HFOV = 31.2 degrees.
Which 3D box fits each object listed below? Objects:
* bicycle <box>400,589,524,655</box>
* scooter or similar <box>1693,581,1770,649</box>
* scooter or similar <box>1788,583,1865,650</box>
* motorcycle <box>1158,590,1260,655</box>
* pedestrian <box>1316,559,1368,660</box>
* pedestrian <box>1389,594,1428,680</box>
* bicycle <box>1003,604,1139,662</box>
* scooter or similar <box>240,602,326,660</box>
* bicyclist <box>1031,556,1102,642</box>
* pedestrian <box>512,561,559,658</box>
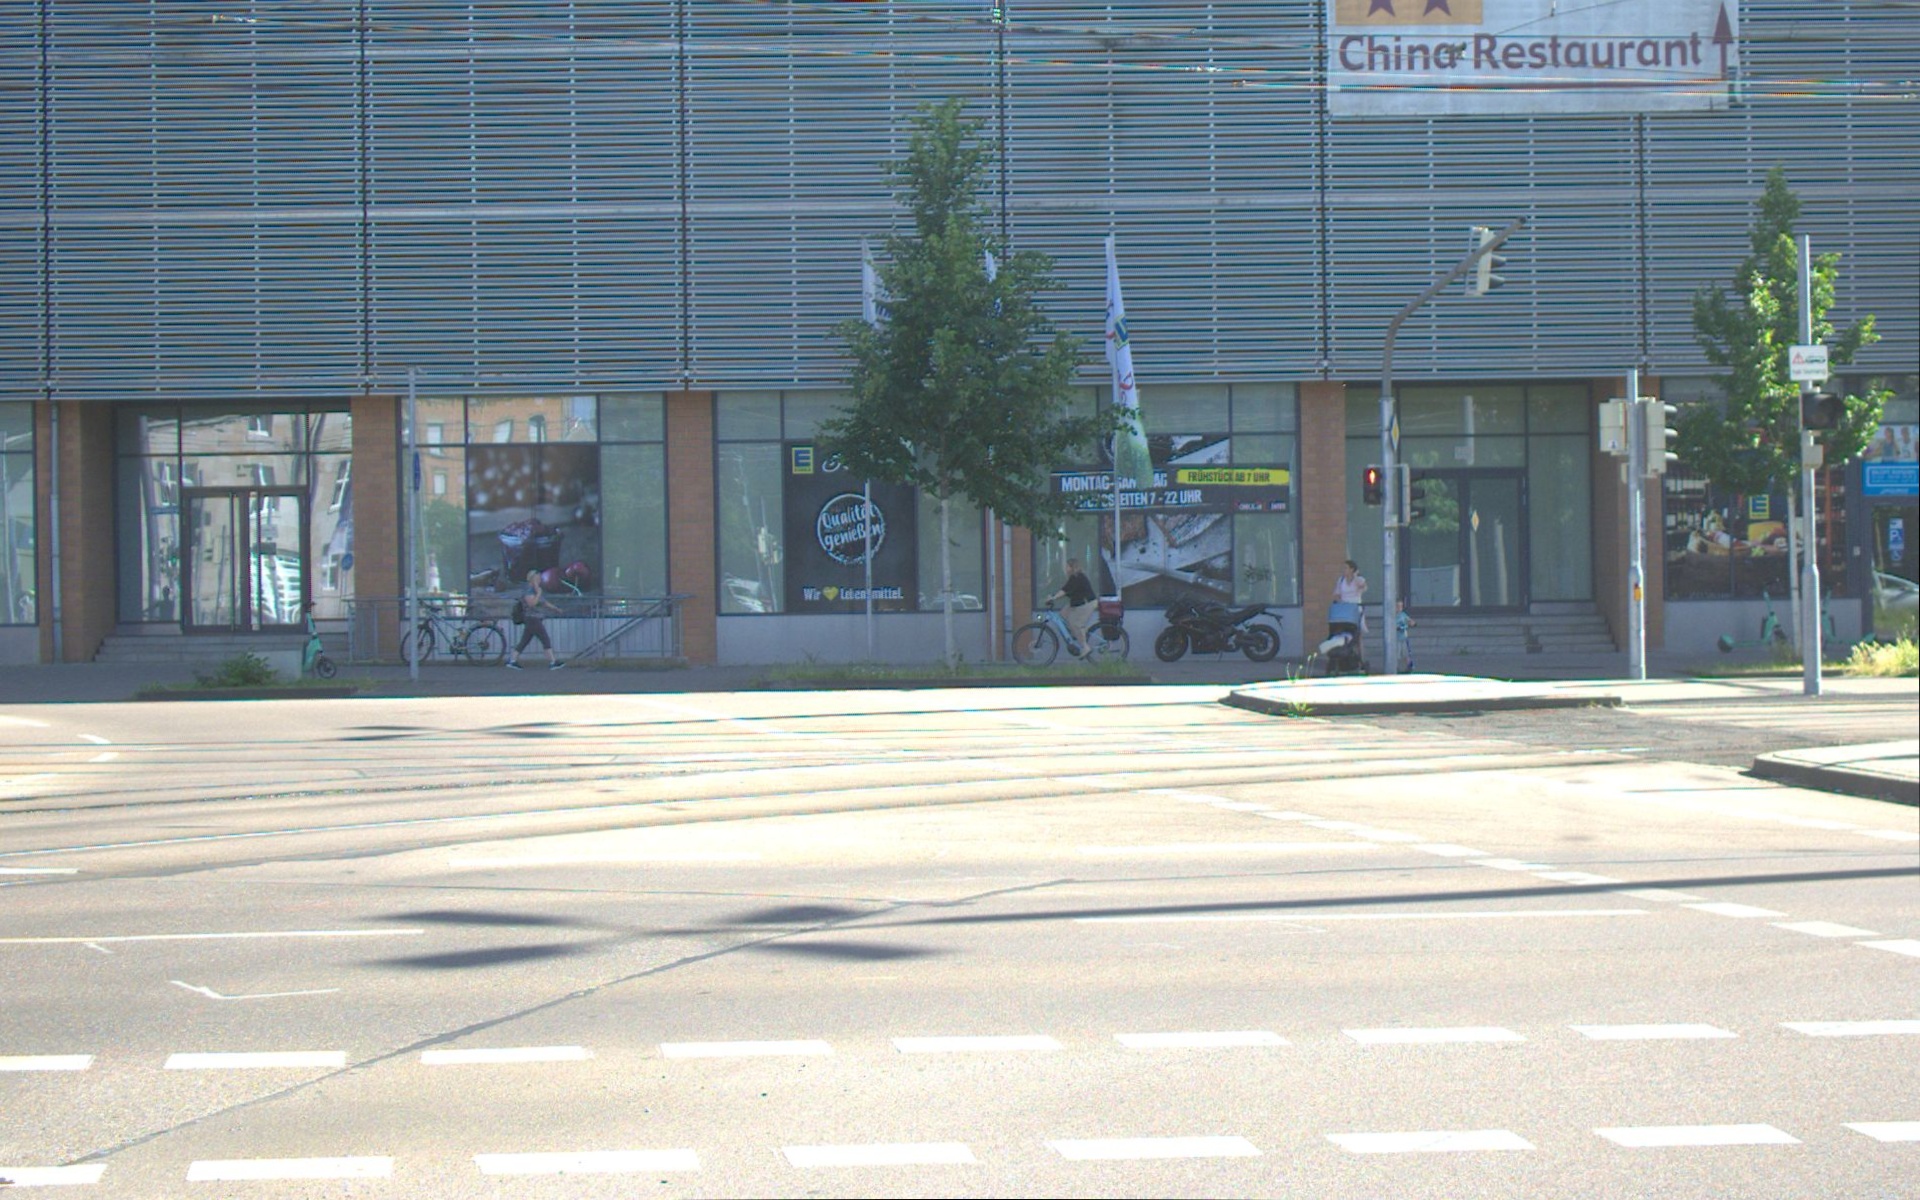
[{"bbox_3d":[-8.028,0.351,55.457,1.944,1.035,0.573,-1,0,-5],"label":"bicycle"},{"bbox_3d":[12.815,0.249,57.137,1.202,1.099,0.277,1,0,1],"label":"scooter or similar"},{"bbox_3d":[14.462,0.281,57.395,1.202,1.099,0.277,1,0,1],"label":"scooter or similar"},{"bbox_3d":[4.047,0.363,55.819,1.614,1.035,0.402,-1,0,-1],"label":"motorcycle"},{"bbox_3d":[5.635,0.142,50.715,0.739,1.482,0.490,0,0,8],"label":"pedestrian"},{"bbox_3d":[6.506,0.535,49.877,0.447,1.225,0.397,-1,0,-14],"label":"pedestrian"},{"bbox_3d":[1.709,0.504,53.070,2.041,0.864,0.682,-1,0,-2],"label":"bicycle"},{"bbox_3d":[-10.081,0.464,51.189,1.222,0.848,0.301,-1,0,-4],"label":"scooter or similar"},{"bbox_3d":[1.643,-0.013,53.071,1.036,1.314,0.682,-1,0,-2],"label":"bicyclist"},{"bbox_3d":[-6.726,0.150,54.485,0.647,1.514,0.491,-1,0,3],"label":"pedestrian"}]
